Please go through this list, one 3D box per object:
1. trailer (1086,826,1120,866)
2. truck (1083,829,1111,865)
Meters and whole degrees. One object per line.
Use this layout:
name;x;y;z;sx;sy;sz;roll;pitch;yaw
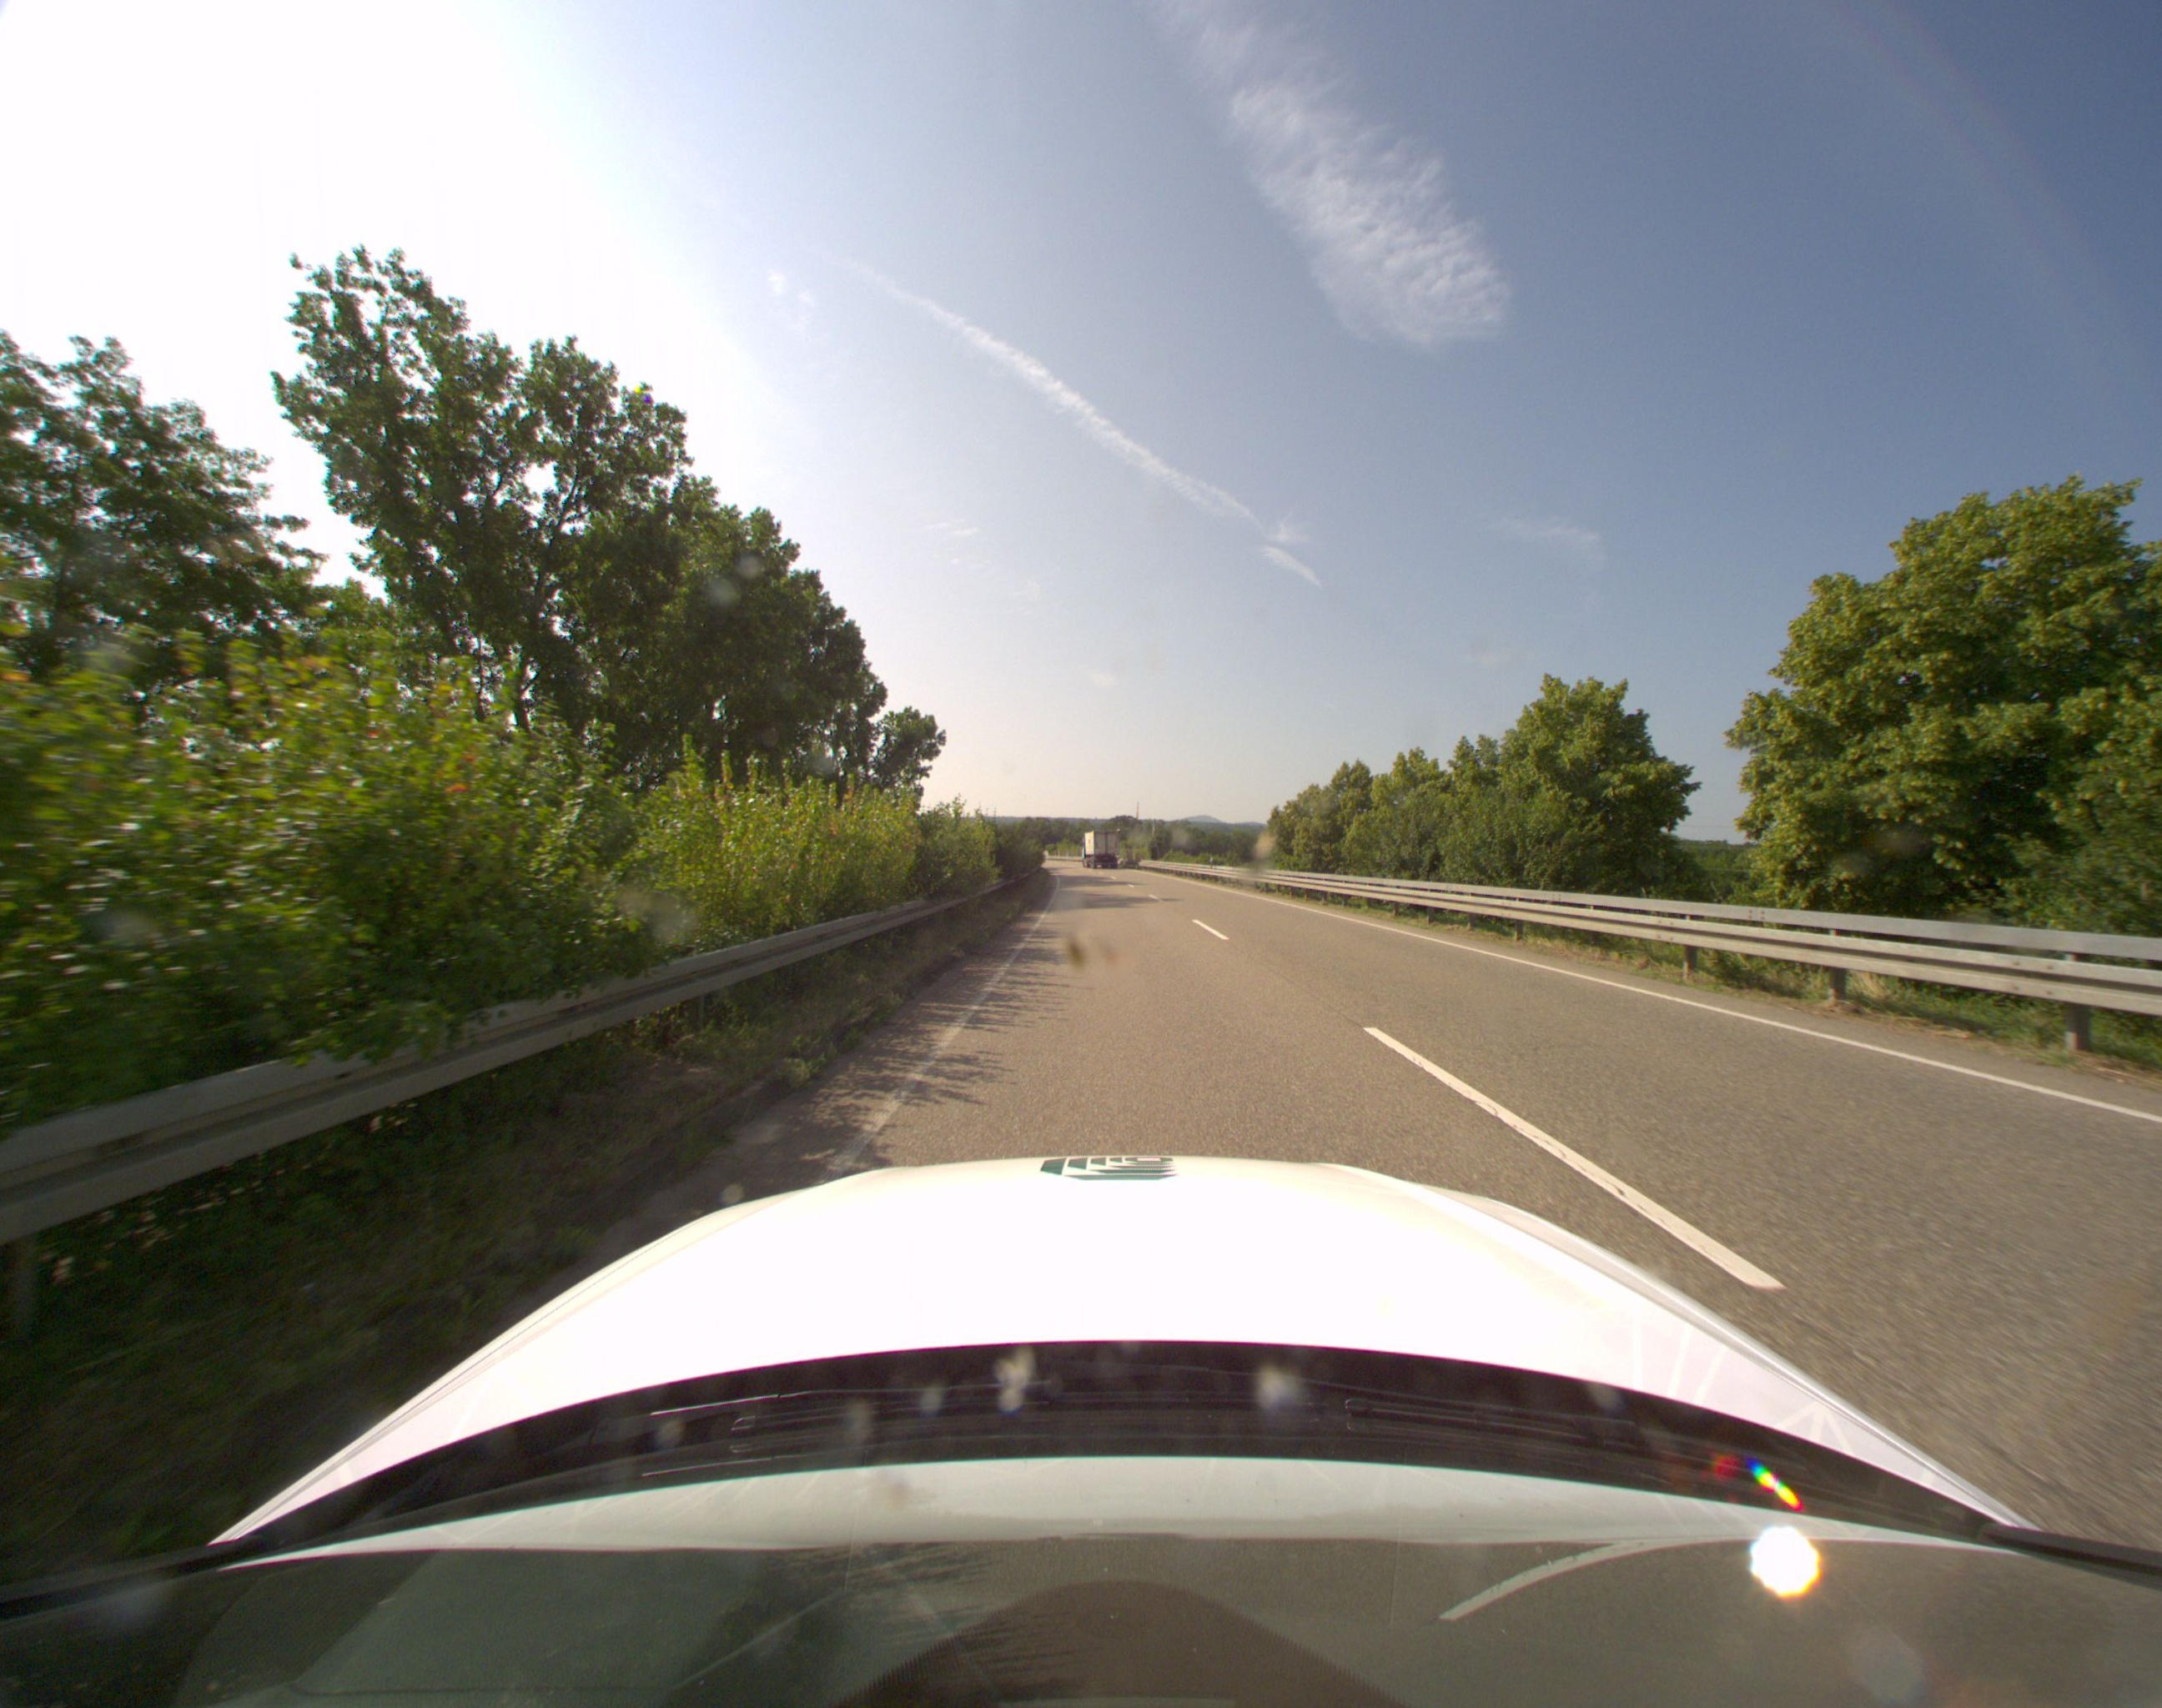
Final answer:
trailer;2.199;-0.817;85.000;2.674;3.907;9.658;0;0;-4
truck;1.781;-0.825;90.952;2.653;3.896;5.640;0;0;-4
